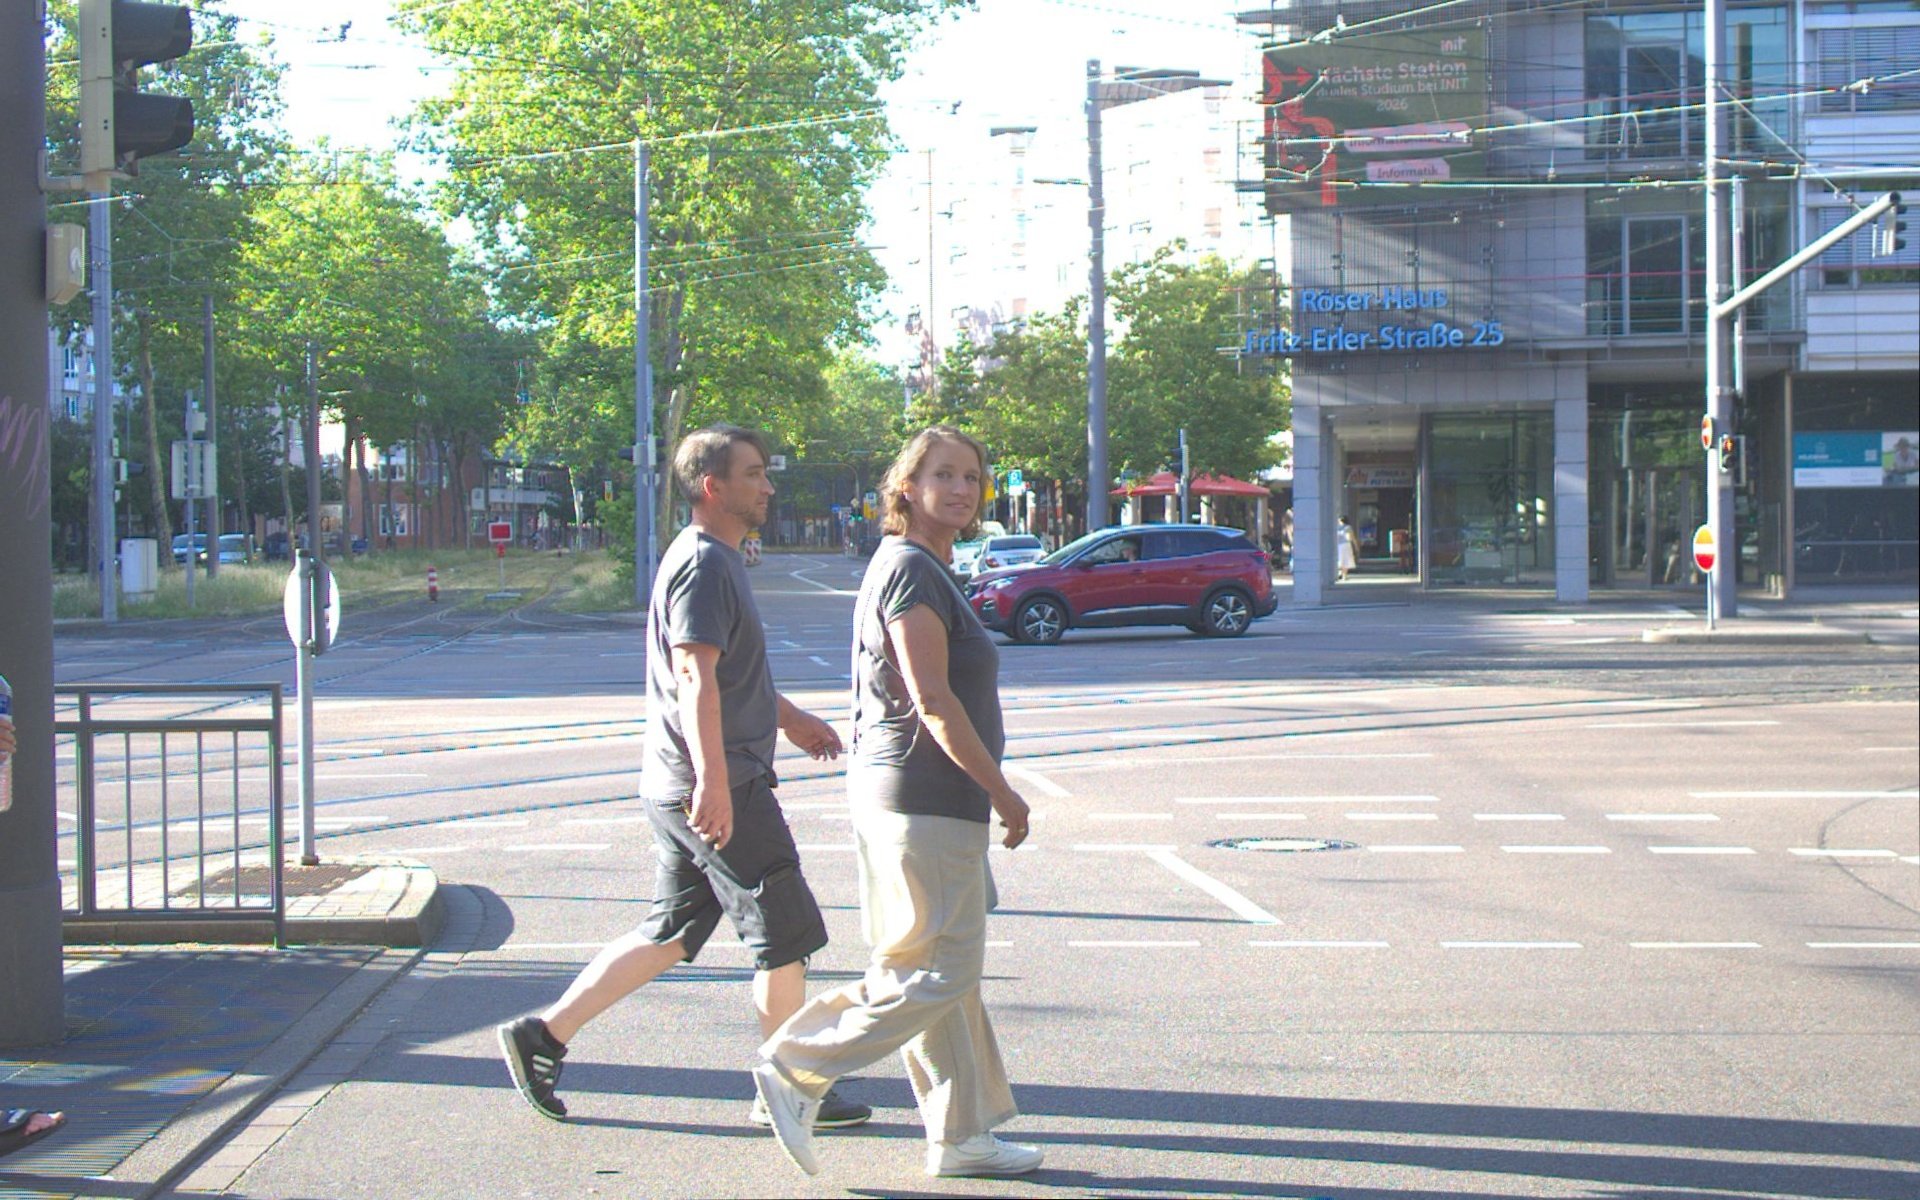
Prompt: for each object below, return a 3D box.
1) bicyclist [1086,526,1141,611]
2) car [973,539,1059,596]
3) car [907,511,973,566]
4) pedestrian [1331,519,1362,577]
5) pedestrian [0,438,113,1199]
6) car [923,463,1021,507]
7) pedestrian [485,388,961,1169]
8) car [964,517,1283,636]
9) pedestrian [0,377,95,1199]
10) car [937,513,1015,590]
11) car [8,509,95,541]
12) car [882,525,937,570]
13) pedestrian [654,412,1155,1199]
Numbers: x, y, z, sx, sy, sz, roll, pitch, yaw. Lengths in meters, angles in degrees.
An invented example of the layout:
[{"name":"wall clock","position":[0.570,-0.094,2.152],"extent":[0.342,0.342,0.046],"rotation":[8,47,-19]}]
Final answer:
[{"name":"bicyclist","position":[2.490,-0.519,55.750],"extent":[0.819,1.362,0.400],"rotation":[-1,1,-4]},{"name":"car","position":[1.377,-0.817,85.479],"extent":[1.993,1.327,4.000],"rotation":[-1,1,-1]},{"name":"car","position":[-0.650,-1.927,107.579],"extent":[1.993,1.656,4.000],"rotation":[-1,1,-1]},{"name":"pedestrian","position":[9.894,-1.339,87.939],"extent":[0.739,1.460,0.536],"rotation":[-1,1,9]},{"name":"pedestrian","position":[-2.328,0.514,7.026],"extent":[1.072,1.676,0.758],"rotation":[0,1,-7]},{"name":"car","position":[0.509,-4.803,143.910],"extent":[3.764,1.744,1.780],"rotation":[1,1,14]},{"name":"pedestrian","position":[-0.627,0.429,8.785],"extent":[1.145,1.887,0.833],"rotation":[0,1,-7]},{"name":"car","position":[2.308,-0.354,49.044],"extent":[4.240,1.596,1.796],"rotation":[-1,1,-9]},{"name":"pedestrian","position":[-2.590,0.431,7.919],"extent":[1.073,1.865,0.739],"rotation":[0,1,-7]},{"name":"car","position":[0.410,-1.329,92.273],"extent":[1.993,1.985,4.000],"rotation":[-1,1,-1]},{"name":"car","position":[-46.426,-3.822,175.654],"extent":[3.987,1.546,1.607],"rotation":[1,1,-31]},{"name":"car","position":[-1.906,-1.991,129.298],"extent":[1.993,1.656,4.000],"rotation":[-1,1,-1]},{"name":"pedestrian","position":[-0.152,0.484,7.989],"extent":[1.071,1.800,0.758],"rotation":[0,1,-7]}]
